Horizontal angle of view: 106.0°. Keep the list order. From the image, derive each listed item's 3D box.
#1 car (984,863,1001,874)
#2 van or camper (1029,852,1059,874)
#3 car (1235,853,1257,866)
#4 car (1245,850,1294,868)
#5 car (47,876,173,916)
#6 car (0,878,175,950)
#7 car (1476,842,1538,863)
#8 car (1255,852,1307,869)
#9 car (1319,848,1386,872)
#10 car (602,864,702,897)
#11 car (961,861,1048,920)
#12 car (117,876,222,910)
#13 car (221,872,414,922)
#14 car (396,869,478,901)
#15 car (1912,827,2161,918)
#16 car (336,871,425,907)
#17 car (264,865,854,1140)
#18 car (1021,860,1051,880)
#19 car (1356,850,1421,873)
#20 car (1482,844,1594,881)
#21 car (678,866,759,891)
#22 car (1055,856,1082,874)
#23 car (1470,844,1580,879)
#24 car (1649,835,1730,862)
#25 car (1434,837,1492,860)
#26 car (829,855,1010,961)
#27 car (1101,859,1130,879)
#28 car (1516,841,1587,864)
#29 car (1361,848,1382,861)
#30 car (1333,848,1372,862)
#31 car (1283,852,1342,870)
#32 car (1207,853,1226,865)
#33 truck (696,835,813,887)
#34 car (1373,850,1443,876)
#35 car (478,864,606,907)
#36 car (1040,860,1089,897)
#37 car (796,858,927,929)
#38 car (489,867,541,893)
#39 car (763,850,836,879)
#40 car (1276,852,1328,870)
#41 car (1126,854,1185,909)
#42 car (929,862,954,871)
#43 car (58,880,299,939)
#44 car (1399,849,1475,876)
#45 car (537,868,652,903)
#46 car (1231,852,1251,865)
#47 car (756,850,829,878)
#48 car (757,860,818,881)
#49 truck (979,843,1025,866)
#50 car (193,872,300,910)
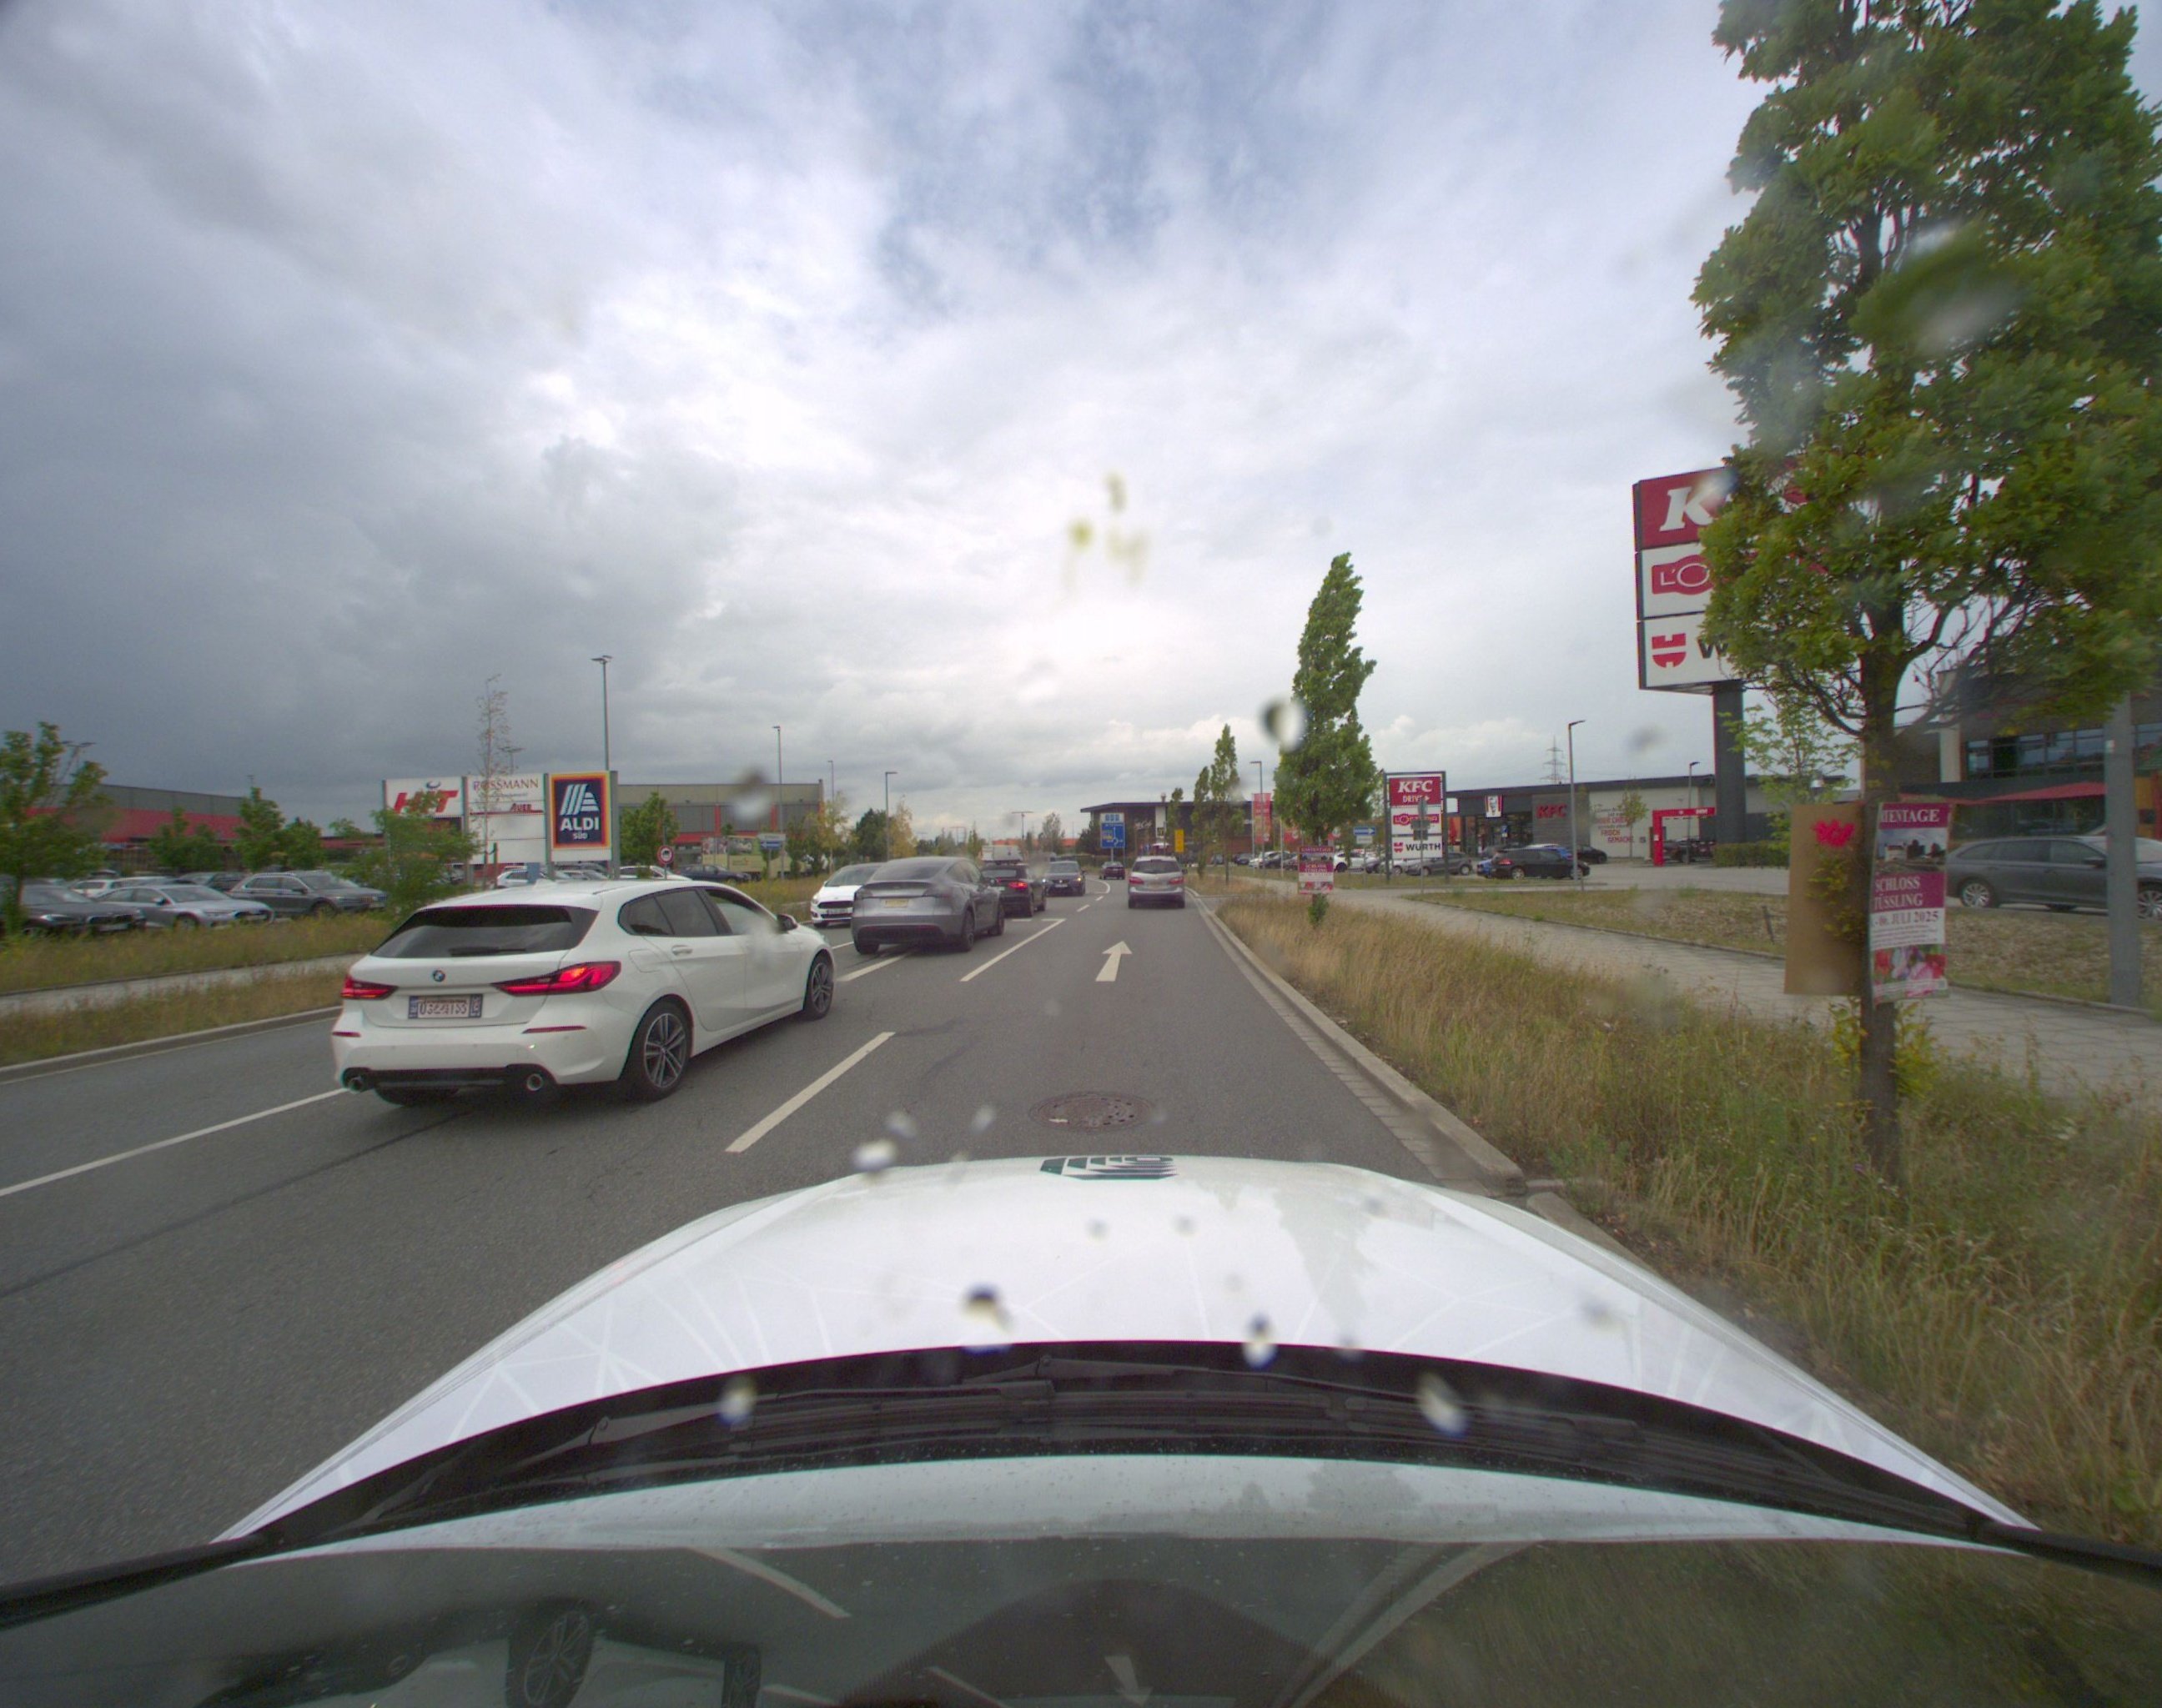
[{"bbox_3d":[-13.717,2.253,125.831,1.996,1.515,3.980,-2,0,-14],"label":"car"},{"bbox_3d":[-4.396,1.109,96.922,2.309,2.506,5.175,-1,0,-17],"label":"van or camper"},{"bbox_3d":[18.834,0.640,92.665,1.795,1.313,3.870,-2,0,21],"label":"car"},{"bbox_3d":[18.837,0.459,81.392,4.358,1.639,1.926,-2,0,-17],"label":"car"},{"bbox_3d":[-46.169,1.951,38.872,1.999,1.607,3.975,-2,0,-18],"label":"car"},{"bbox_3d":[-24.989,1.430,19.428,4.345,1.505,2.242,-2,0,4],"label":"car"},{"bbox_3d":[35.207,-0.097,67.388,4.375,1.519,2.035,-3,0,-18],"label":"car"},{"bbox_3d":[19.401,0.621,78.943,4.475,1.436,2.063,-2,0,-15],"label":"car"},{"bbox_3d":[21.352,0.456,64.136,4.557,1.645,2.084,-3,0,-7],"label":"car"},{"bbox_3d":[-23.050,1.403,43.903,4.241,1.559,1.985,-2,0,-6],"label":"car"},{"bbox_3d":[-2.028,0.962,22.772,1.761,1.438,4.235,-2,-1,4],"label":"car"},{"bbox_3d":[-49.012,2.056,43.930,1.999,1.607,3.975,-2,0,-18],"label":"car"},{"bbox_3d":[-24.607,1.356,26.366,4.336,1.391,2.169,-2,0,5],"label":"car"},{"bbox_3d":[-37.496,1.765,47.585,1.999,1.607,5.240,-2,0,-18],"label":"car"},{"bbox_3d":[18.510,0.272,14.821,1.954,1.460,4.835,-2,0,3],"label":"car"},{"bbox_3d":[-35.474,1.709,41.369,1.999,1.607,3.975,-2,0,-18],"label":"car"},{"bbox_3d":[-3.508,0.859,6.624,1.872,1.468,4.197,-2,-1,4],"label":"car"},{"bbox_3d":[-3.525,1.273,64.465,1.828,1.417,4.503,-3,0,3],"label":"car"},{"bbox_3d":[22.300,0.559,59.157,3.977,1.485,1.938,-2,-1,-3],"label":"car"},{"bbox_3d":[20.749,0.385,37.084,3.967,1.494,1.985,-2,0,5],"label":"car"},{"bbox_3d":[-22.865,1.532,51.494,4.221,1.435,1.996,-2,0,-2],"label":"car"},{"bbox_3d":[-1.390,1.162,86.811,2.059,1.826,4.768,-1,-1,-10],"label":"car"},{"bbox_3d":[21.548,0.361,39.635,4.244,1.520,1.967,-2,0,3],"label":"car"},{"bbox_3d":[39.343,-0.360,52.688,4.574,1.519,1.886,-3,0,-18],"label":"car"},{"bbox_3d":[41.802,-0.625,89.034,5.695,2.351,2.517,-2,0,-22],"label":"car"},{"bbox_3d":[-2.698,0.844,14.884,1.984,1.561,4.619,-2,0,5],"label":"car"},{"bbox_3d":[2.629,1.120,62.144,1.840,1.418,4.221,-2,0,-2],"label":"car"},{"bbox_3d":[35.786,-0.146,62.000,4.571,1.519,2.070,-3,0,-16],"label":"car"},{"bbox_3d":[35.254,0.014,98.692,1.932,1.443,4.243,-2,0,25],"label":"car"},{"bbox_3d":[35.759,0.182,107.378,4.676,1.656,2.011,-2,0,22],"label":"car"},{"bbox_3d":[20.226,0.606,71.077,4.520,1.469,2.024,-2,0,-12],"label":"car"},{"bbox_3d":[19.268,0.682,115.496,1.977,1.717,4.019,-1,0,19],"label":"car"},{"bbox_3d":[-23.908,0.500,60.235,2.824,3.541,8.474,-1,0,22],"label":"truck"},{"bbox_3d":[21.766,0.574,54.239,3.850,1.481,1.901,-3,0,-1],"label":"car"},{"bbox_3d":[-23.714,1.345,35.963,4.229,1.723,2.028,-1,-1,-1],"label":"car"},{"bbox_3d":[-0.641,0.983,34.353,1.823,1.420,4.247,-1,0,2],"label":"car"},{"bbox_3d":[-5.921,0.987,22.618,1.985,1.637,4.707,-4,0,4],"label":"car"},{"bbox_3d":[-40.700,1.816,58.665,1.999,1.729,3.975,-2,0,-18],"label":"car"},{"bbox_3d":[-27.197,1.022,78.951,6.419,2.598,2.232,-1,-1,-15],"label":"car"},{"bbox_3d":[20.109,0.633,74.051,4.088,1.438,1.934,-2,0,-13],"label":"car"},{"bbox_3d":[2.377,0.822,25.985,1.721,1.600,3.812,-1,0,5],"label":"car"},{"bbox_3d":[-23.456,2.095,136.524,3.994,1.515,1.990,-2,0,-15],"label":"car"},{"bbox_3d":[-24.641,1.492,22.366,4.298,1.340,2.027,-2,0,0],"label":"car"},{"bbox_3d":[21.548,0.514,49.426,3.745,1.494,1.890,-2,0,0],"label":"car"},{"bbox_3d":[-23.011,1.470,38.609,4.223,1.513,2.048,-1,0,4],"label":"car"},{"bbox_3d":[23.045,0.632,117.189,2.097,1.717,4.253,-1,0,23],"label":"car"},{"bbox_3d":[-26.163,0.913,74.054,6.081,2.307,2.198,-1,-1,-16],"label":"car"},{"bbox_3d":[-25.539,1.437,71.016,4.915,1.617,1.982,-2,-1,-18],"label":"car"},{"bbox_3d":[-14.187,0.008,146.974,3.102,3.907,9.395,-2,0,32],"label":"truck"},{"bbox_3d":[-40.535,1.770,39.696,1.999,1.607,3.975,-2,0,-18],"label":"car"}]
